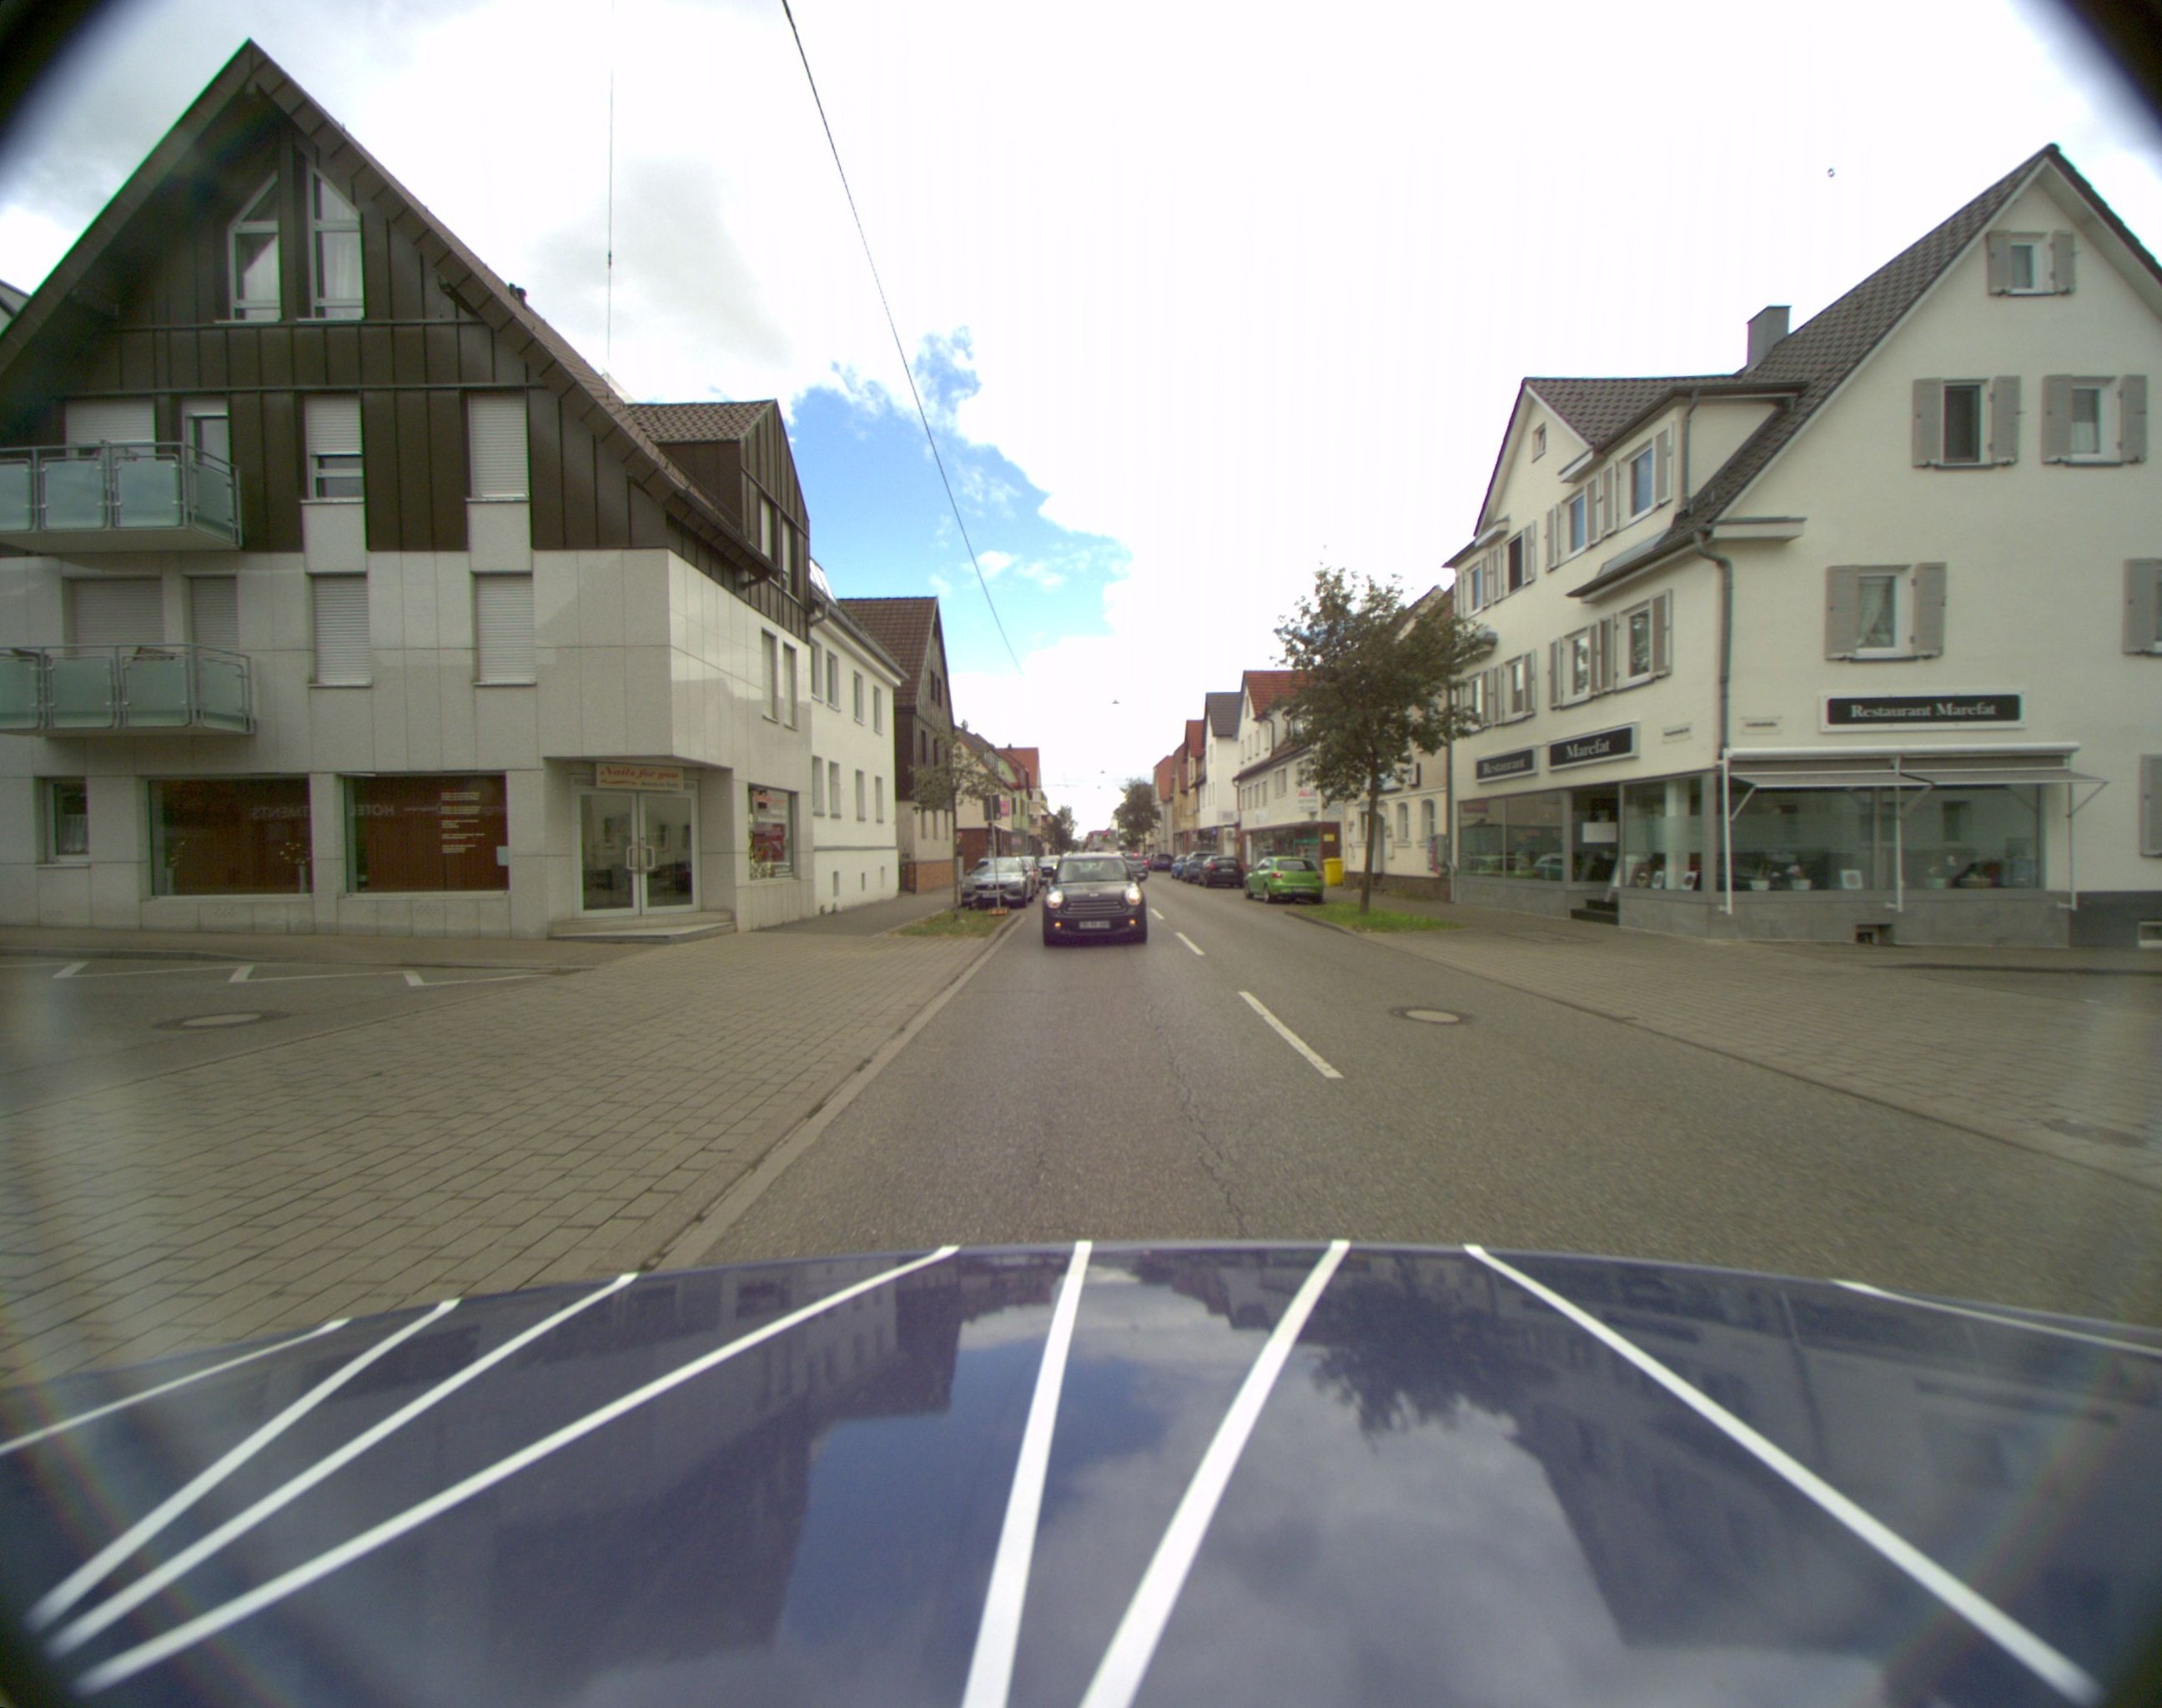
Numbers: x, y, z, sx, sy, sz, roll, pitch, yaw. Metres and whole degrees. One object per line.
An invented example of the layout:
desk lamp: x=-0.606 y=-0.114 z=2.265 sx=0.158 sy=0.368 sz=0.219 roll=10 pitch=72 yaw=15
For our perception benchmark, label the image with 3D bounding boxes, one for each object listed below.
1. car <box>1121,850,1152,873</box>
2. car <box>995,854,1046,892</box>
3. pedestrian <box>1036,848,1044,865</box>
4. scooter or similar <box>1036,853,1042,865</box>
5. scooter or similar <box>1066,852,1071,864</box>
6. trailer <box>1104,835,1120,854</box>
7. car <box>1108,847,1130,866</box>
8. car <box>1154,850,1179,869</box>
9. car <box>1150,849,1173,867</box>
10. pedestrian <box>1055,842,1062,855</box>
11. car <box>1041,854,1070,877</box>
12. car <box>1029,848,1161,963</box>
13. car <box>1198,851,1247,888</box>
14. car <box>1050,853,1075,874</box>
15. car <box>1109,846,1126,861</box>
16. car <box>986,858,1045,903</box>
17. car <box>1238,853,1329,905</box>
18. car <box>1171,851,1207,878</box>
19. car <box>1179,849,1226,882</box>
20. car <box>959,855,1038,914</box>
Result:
car: x=3.697 y=0.480 z=51.214 sx=1.687 sy=1.439 sz=4.019 roll=0 pitch=1 yaw=-2
car: x=-2.628 y=0.807 z=33.879 sx=1.835 sy=1.489 sz=3.993 roll=-2 pitch=1 yaw=1
pedestrian: x=-4.257 y=0.245 z=78.630 sx=0.752 sy=1.710 sz=0.900 roll=-2 pitch=1 yaw=1
scooter or similar: x=-4.297 y=0.504 z=77.712 sx=0.591 sy=1.225 sz=0.891 roll=-2 pitch=1 yaw=0
scooter or similar: x=-1.333 y=0.424 z=82.440 sx=0.503 sy=1.228 sz=1.942 roll=-2 pitch=1 yaw=0
trailer: x=5.239 y=-1.639 z=128.344 sx=2.509 sy=3.201 sz=7.134 roll=-1 pitch=1 yaw=2
car: x=3.371 y=0.209 z=68.035 sx=1.799 sy=1.569 sz=4.192 roll=1 pitch=1 yaw=1
car: x=6.908 y=0.436 z=61.627 sx=1.686 sy=1.484 sz=3.591 roll=0 pitch=1 yaw=1
car: x=7.085 y=0.310 z=67.028 sx=1.714 sy=1.557 sz=4.113 roll=0 pitch=1 yaw=1
pedestrian: x=-3.434 y=-0.827 z=116.042 sx=0.826 sy=2.063 sz=1.011 roll=2 pitch=1 yaw=3
car: x=-1.784 y=0.740 z=52.740 sx=1.836 sy=1.437 sz=4.108 roll=-2 pitch=1 yaw=-3
car: x=0.220 y=0.740 z=13.351 sx=1.847 sy=1.571 sz=4.428 roll=-3 pitch=1 yaw=0
car: x=6.370 y=0.663 z=34.590 sx=1.585 sy=1.499 sz=3.812 roll=1 pitch=1 yaw=1
car: x=-1.436 y=0.714 z=58.524 sx=1.836 sy=1.437 sz=4.330 roll=-2 pitch=1 yaw=-1
car: x=4.357 y=-0.057 z=90.115 sx=1.905 sy=1.727 sz=4.365 roll=0 pitch=1 yaw=1
car: x=-2.384 y=0.928 z=28.594 sx=1.759 sy=1.437 sz=4.454 roll=-2 pitch=1 yaw=0
car: x=6.273 y=0.713 z=23.959 sx=1.687 sy=1.439 sz=4.019 roll=0 pitch=1 yaw=-1
car: x=6.417 y=0.611 z=45.498 sx=1.686 sy=1.491 sz=3.775 roll=0 pitch=1 yaw=1
car: x=6.249 y=0.545 z=39.492 sx=1.807 sy=1.590 sz=4.304 roll=0 pitch=1 yaw=1
car: x=-2.429 y=0.857 z=23.490 sx=1.880 sy=1.530 sz=4.512 roll=-2 pitch=1 yaw=0
